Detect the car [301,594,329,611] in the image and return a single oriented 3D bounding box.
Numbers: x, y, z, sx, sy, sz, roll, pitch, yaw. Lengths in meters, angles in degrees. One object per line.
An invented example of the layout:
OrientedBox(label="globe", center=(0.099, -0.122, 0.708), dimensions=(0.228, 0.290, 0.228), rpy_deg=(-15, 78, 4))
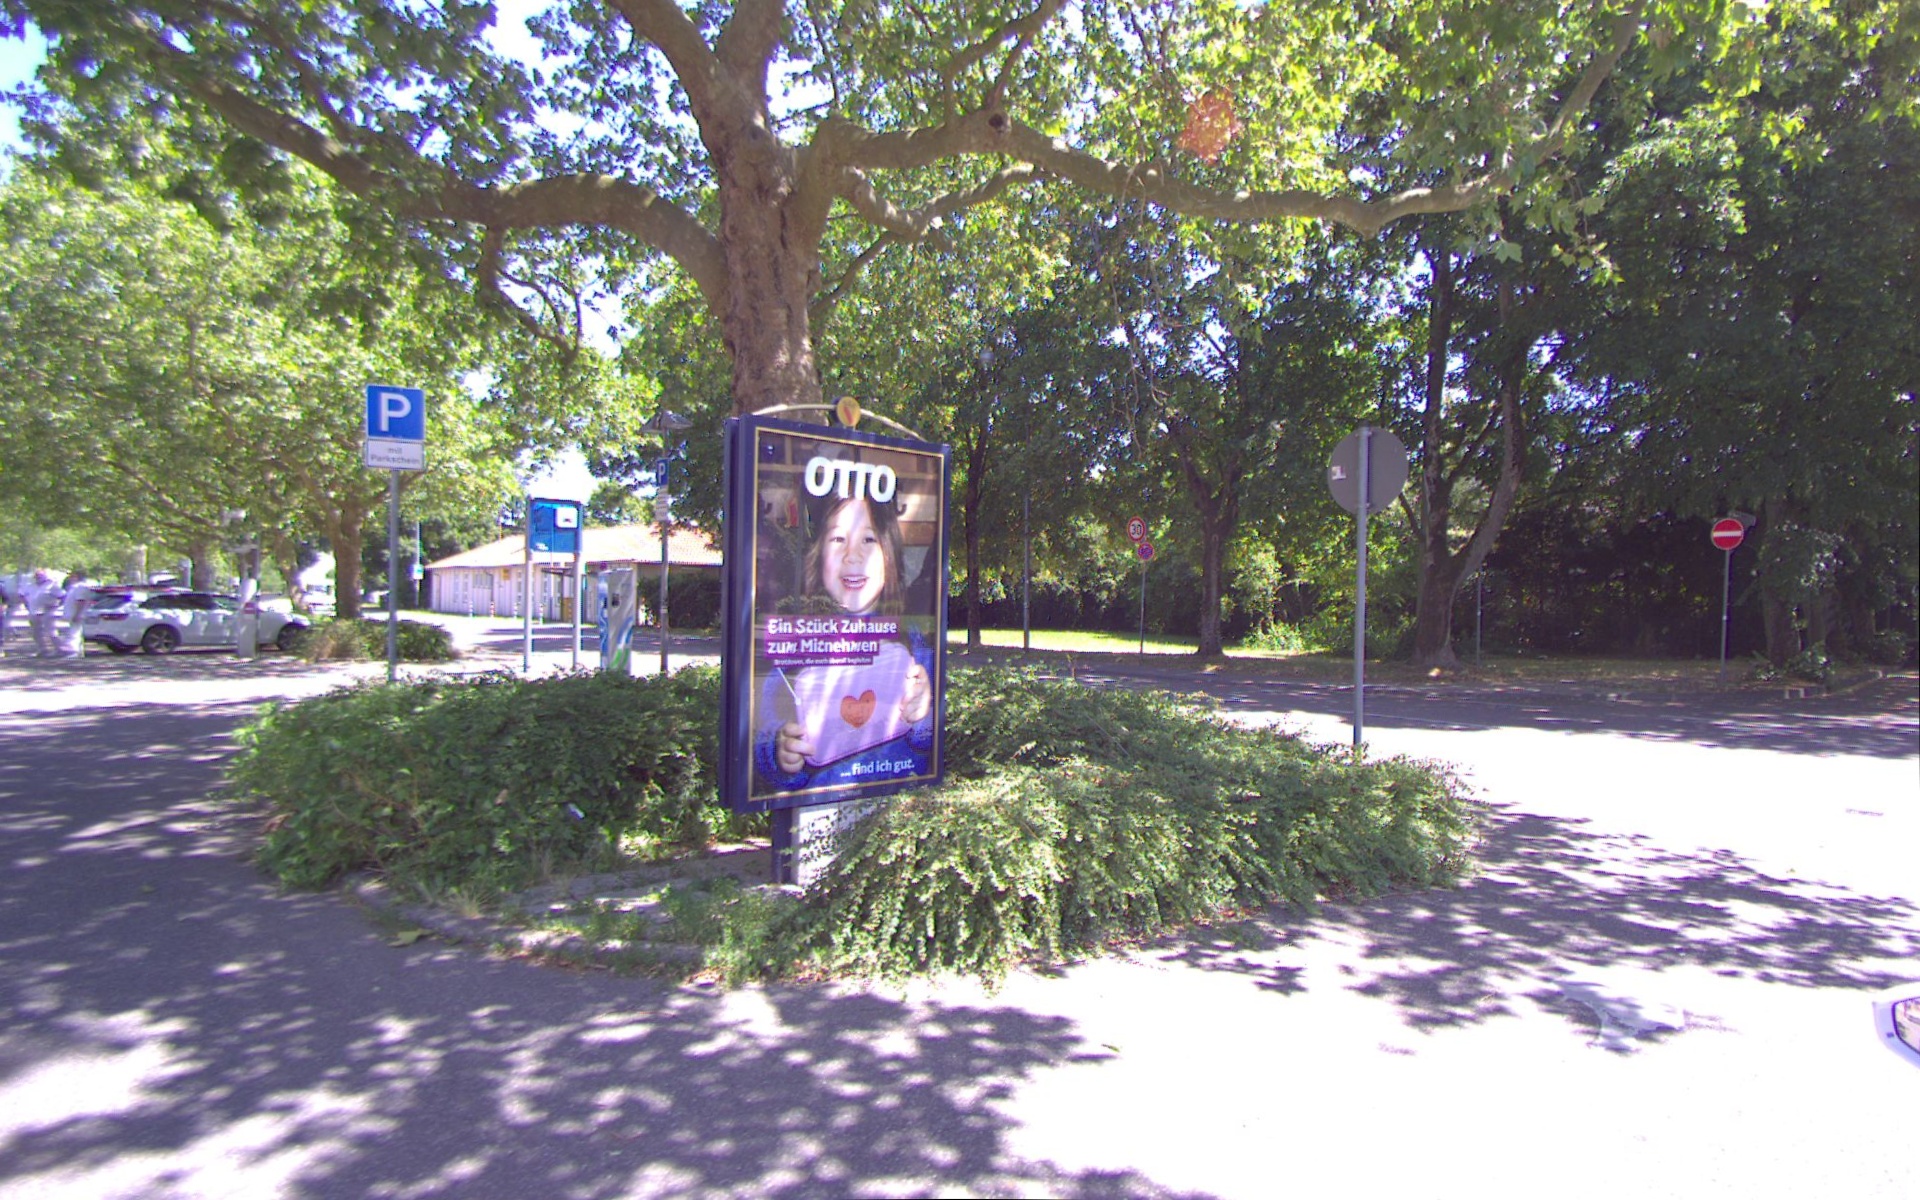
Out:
OrientedBox(label="car", center=(-70.989, 0.243, 110.552), dimensions=(1.886, 1.798, 3.949), rpy_deg=(1, 0, -43))

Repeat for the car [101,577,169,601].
OrientedBox(label="car", center=(-51.690, -0.689, 62.967), dimensions=(1.444, 1.413, 3.144), rpy_deg=(1, 0, 41))

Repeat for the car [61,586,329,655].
OrientedBox(label="car", center=(-17.941, 0.447, 23.844), dimensions=(1.754, 1.436, 4.771), rpy_deg=(1, 0, 28))

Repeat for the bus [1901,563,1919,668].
OrientedBox(label="bus", center=(36.858, 0.614, 36.444), dimensions=(15.836, 3.339, 2.841), rpy_deg=(1, 0, -43))

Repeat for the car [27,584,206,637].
OrientedBox(label="car", center=(-25.454, 0.303, 30.471), dimensions=(1.604, 1.480, 3.877), rpy_deg=(1, 0, 19))

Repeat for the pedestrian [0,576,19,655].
OrientedBox(label="pedestrian", center=(-19.216, 0.307, 20.033), dimensions=(0.602, 1.568, 0.586), rpy_deg=(1, -1, 43))

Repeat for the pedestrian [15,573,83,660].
OrientedBox(label="pedestrian", center=(-19.379, 0.341, 21.367), dimensions=(0.836, 1.794, 0.837), rpy_deg=(1, 0, 29))

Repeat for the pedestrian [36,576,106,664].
OrientedBox(label="pedestrian", center=(-18.482, 0.404, 20.883), dimensions=(0.836, 1.794, 0.838), rpy_deg=(1, 0, 27))
